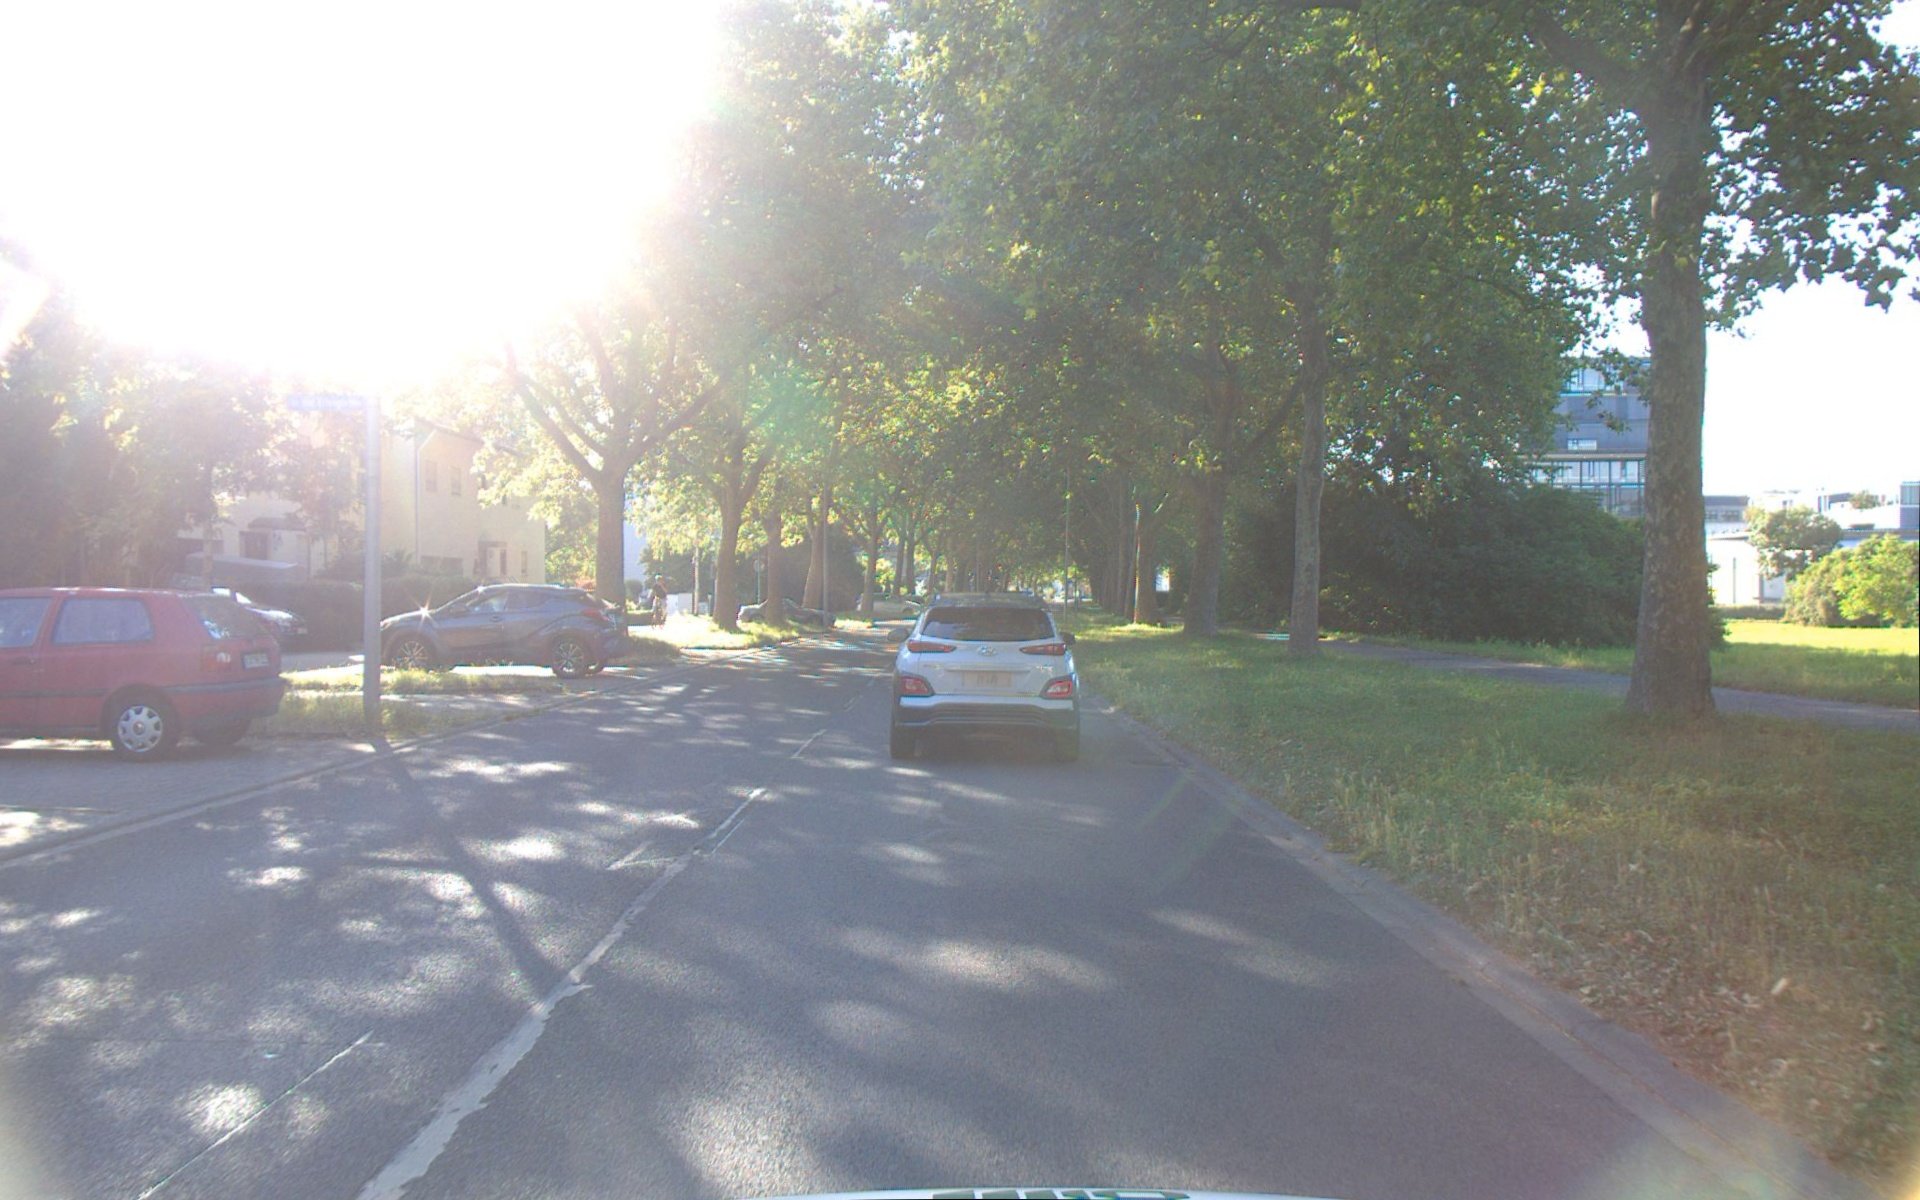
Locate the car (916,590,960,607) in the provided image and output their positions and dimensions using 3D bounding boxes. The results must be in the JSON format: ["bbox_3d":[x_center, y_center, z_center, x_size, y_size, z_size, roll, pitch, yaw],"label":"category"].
[{"bbox_3d":[-1.988,-0.159,151.785,3.903,1.546,1.810,1,0,3],"label":"car"}]

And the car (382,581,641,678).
[{"bbox_3d":[-7.595,0.486,28.287,3.907,1.545,1.817,1,0,-1],"label":"car"}]

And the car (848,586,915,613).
[{"bbox_3d":[-4.907,-0.011,104.171,4.098,1.612,2.000,1,0,-1],"label":"car"}]

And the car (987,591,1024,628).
[{"bbox_3d":[2.166,0.431,79.913,1.642,1.725,3.745,1,0,0],"label":"car"}]

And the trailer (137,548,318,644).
[{"bbox_3d":[-17.161,-0.116,38.853,3.383,1.959,1.643,4,1,0],"label":"trailer"}]

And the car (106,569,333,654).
[{"bbox_3d":[-15.973,0.245,35.808,3.905,1.502,2.000,4,0,1],"label":"car"}]

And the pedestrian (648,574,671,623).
[{"bbox_3d":[-10.930,-0.064,60.153,0.604,1.746,1.065,0,0,1],"label":"pedestrian"}]

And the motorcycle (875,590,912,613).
[{"bbox_3d":[-4.269,0.113,106.492,2.337,1.412,0.648,2,1,-2],"label":"motorcycle"}]

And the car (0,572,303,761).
[{"bbox_3d":[-7.974,0.540,14.423,3.794,1.545,1.664,1,0,-4],"label":"car"}]

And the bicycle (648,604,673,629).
[{"bbox_3d":[-10.890,0.589,60.128,0.460,0.896,2.156,0,0,1],"label":"bicycle"}]

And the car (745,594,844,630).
[{"bbox_3d":[-6.650,0.480,66.878,3.746,1.339,1.790,2,0,1],"label":"car"}]

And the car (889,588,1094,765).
[{"bbox_3d":[0.202,0.682,16.868,1.799,1.583,3.998,0,0,-3],"label":"car"}]
